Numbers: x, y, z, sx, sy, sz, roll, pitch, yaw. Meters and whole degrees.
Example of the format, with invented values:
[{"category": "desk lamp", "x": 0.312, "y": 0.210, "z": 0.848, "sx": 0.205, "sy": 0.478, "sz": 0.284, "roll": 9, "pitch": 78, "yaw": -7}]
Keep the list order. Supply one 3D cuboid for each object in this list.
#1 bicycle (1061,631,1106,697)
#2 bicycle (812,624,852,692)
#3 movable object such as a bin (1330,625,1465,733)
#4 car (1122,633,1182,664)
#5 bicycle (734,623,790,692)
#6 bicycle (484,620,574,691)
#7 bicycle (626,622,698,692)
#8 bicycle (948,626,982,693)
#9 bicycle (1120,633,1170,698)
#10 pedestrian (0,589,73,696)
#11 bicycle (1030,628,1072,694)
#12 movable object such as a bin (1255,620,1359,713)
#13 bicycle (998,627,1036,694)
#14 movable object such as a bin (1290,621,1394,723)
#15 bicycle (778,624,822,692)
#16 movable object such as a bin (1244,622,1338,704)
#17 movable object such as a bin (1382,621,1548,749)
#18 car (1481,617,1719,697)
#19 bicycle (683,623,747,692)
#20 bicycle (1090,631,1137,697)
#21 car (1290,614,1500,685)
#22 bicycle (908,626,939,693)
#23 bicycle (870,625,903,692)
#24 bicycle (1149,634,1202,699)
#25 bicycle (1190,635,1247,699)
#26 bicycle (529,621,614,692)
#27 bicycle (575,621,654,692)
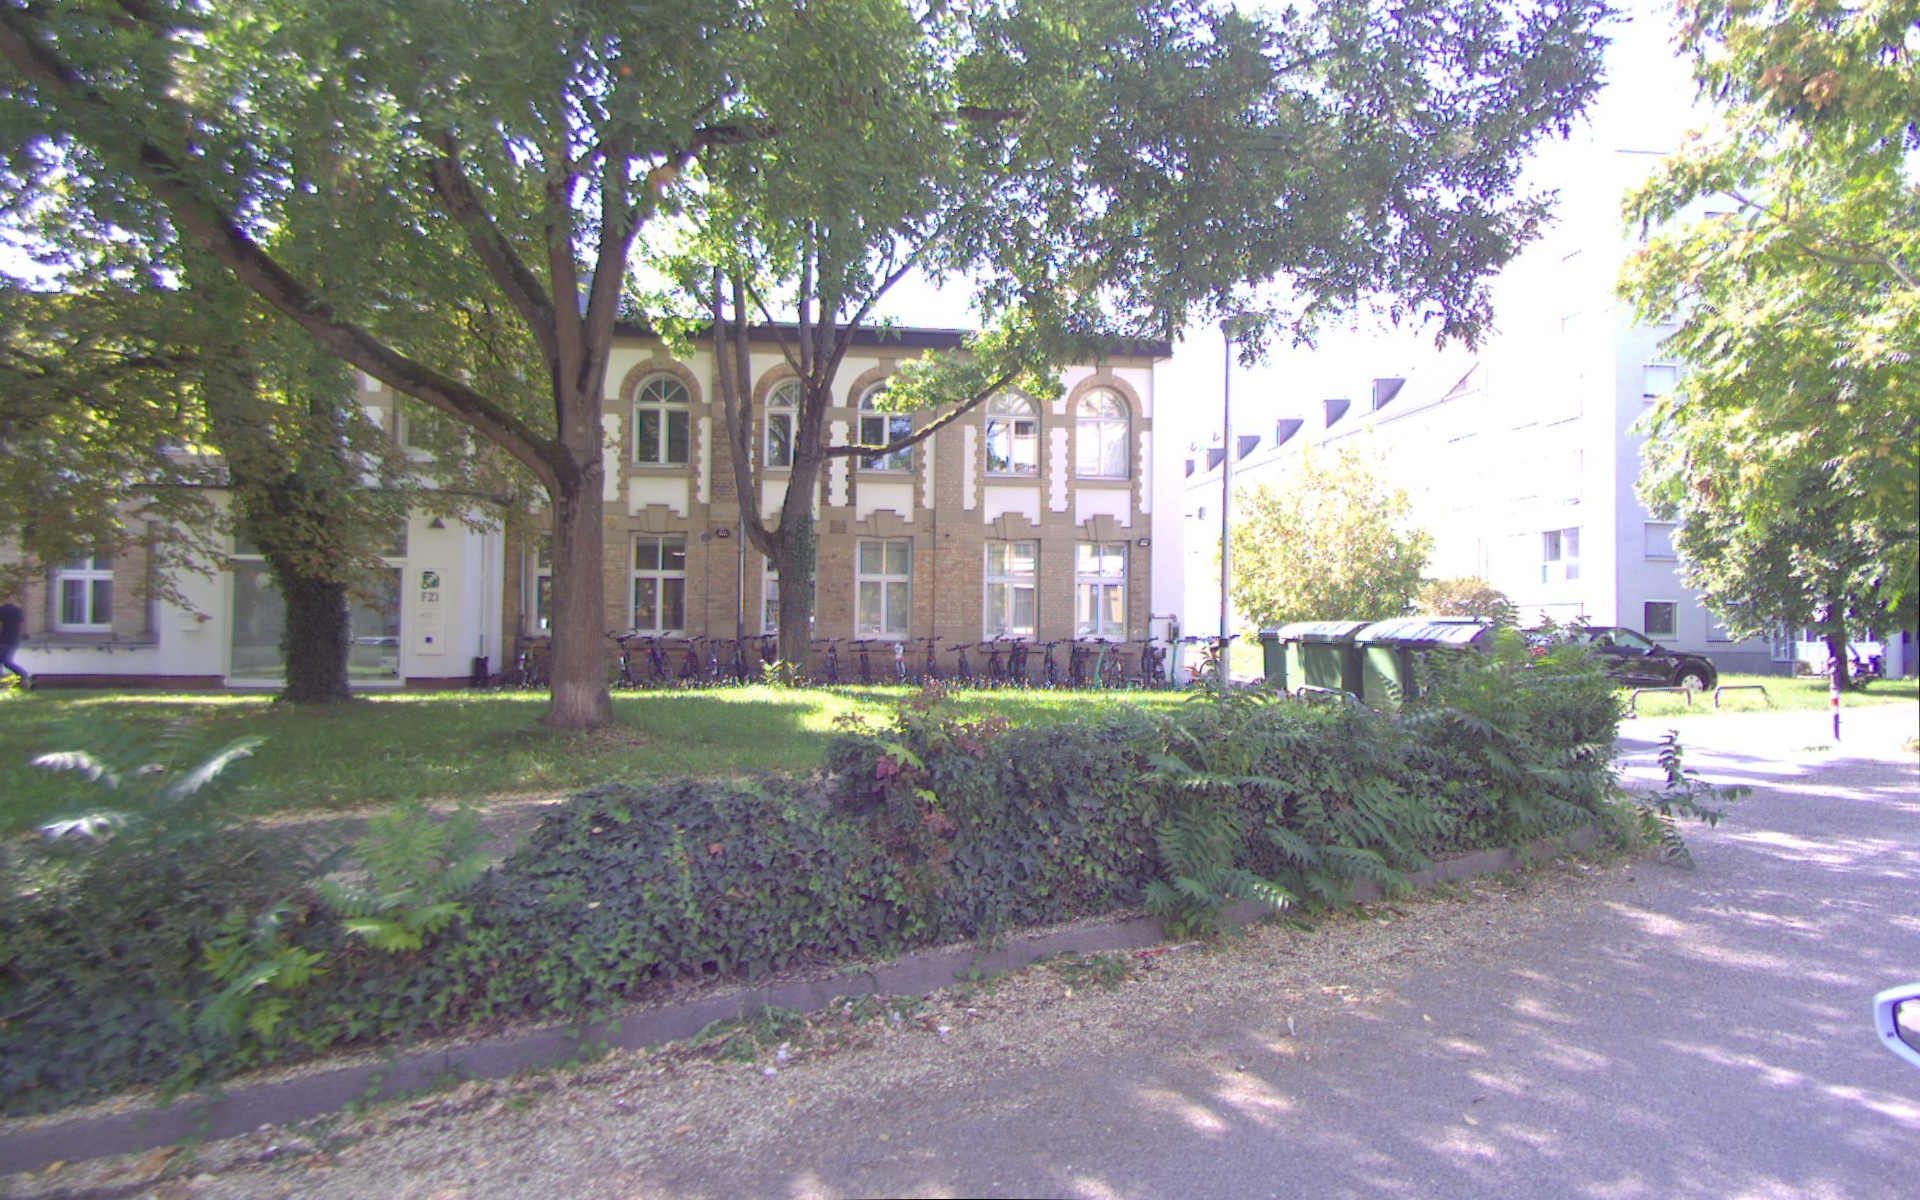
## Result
[{"category": "bicycle", "x": 2.586, "y": 1.327, "z": 21.266, "sx": 0.597, "sy": 1.319, "sz": 2.173, "roll": 1, "pitch": -2, "yaw": -2}, {"category": "bicycle", "x": -2.648, "y": 1.195, "z": 20.929, "sx": 0.597, "sy": 1.319, "sz": 2.173, "roll": 1, "pitch": -2, "yaw": -2}, {"category": "movable object such as a bin", "x": 6.225, "y": 1.092, "z": 14.375, "sx": 1.228, "sy": 1.451, "sz": 1.329, "roll": 1, "pitch": -1, "yaw": -12}, {"category": "car", "x": 9.947, "y": 2.508, "z": 52.322, "sx": 1.768, "sy": 1.530, "sz": 3.994, "roll": 1, "pitch": -2, "yaw": -10}, {"category": "bicycle", "x": -4.051, "y": 1.170, "z": 20.728, "sx": 0.757, "sy": 1.319, "sz": 2.273, "roll": 1, "pitch": -2, "yaw": -2}, {"category": "bicycle", "x": -8.512, "y": 1.092, "z": 19.973, "sx": 0.757, "sy": 1.319, "sz": 2.526, "roll": 1, "pitch": -2, "yaw": -2}, {"category": "bicycle", "x": -5.976, "y": 1.133, "z": 20.271, "sx": 0.757, "sy": 1.319, "sz": 2.526, "roll": 1, "pitch": -2, "yaw": -2}, {"category": "bicycle", "x": 0.089, "y": 1.235, "z": 21.098, "sx": 0.597, "sy": 1.319, "sz": 2.173, "roll": 1, "pitch": -2, "yaw": -2}, {"category": "bicycle", "x": 3.924, "y": 1.377, "z": 21.471, "sx": 0.597, "sy": 1.319, "sz": 2.173, "roll": 1, "pitch": -2, "yaw": -2}, {"category": "pedestrian", "x": -16.621, "y": 0.745, "z": 17.781, "sx": 1.108, "sy": 1.852, "sz": 0.735, "roll": 0, "pitch": -1, "yaw": -4}, {"category": "bicycle", "x": 1.912, "y": 1.281, "z": 21.328, "sx": 0.597, "sy": 1.319, "sz": 2.173, "roll": 1, "pitch": -2, "yaw": -2}, {"category": "movable object such as a bin", "x": 5.845, "y": 1.102, "z": 16.992, "sx": 1.228, "sy": 1.515, "sz": 1.204, "roll": 1, "pitch": -1, "yaw": -12}, {"category": "bicycle", "x": 1.174, "y": 1.250, "z": 21.132, "sx": 0.597, "sy": 1.319, "sz": 2.173, "roll": 1, "pitch": -2, "yaw": -2}, {"category": "movable object such as a bin", "x": 5.898, "y": 1.090, "z": 15.571, "sx": 1.082, "sy": 1.501, "sz": 1.099, "roll": 1, "pitch": -1, "yaw": -12}, {"category": "bicycle", "x": -3.292, "y": 1.184, "z": 20.851, "sx": 0.615, "sy": 1.319, "sz": 2.273, "roll": 1, "pitch": -2, "yaw": -2}, {"category": "movable object such as a bin", "x": 6.164, "y": 1.159, "z": 18.756, "sx": 1.228, "sy": 1.463, "sz": 1.204, "roll": 1, "pitch": -1, "yaw": -12}, {"category": "movable object such as a bin", "x": 6.394, "y": 1.035, "z": 12.790, "sx": 1.315, "sy": 1.513, "sz": 1.367, "roll": 1, "pitch": -1, "yaw": -20}, {"category": "car", "x": 13.152, "y": 1.155, "z": 20.792, "sx": 3.835, "sy": 1.548, "sz": 1.708, "roll": 1, "pitch": -2, "yaw": 0}, {"category": "bicycle", "x": -4.994, "y": 1.159, "z": 20.642, "sx": 0.757, "sy": 1.319, "sz": 2.526, "roll": 1, "pitch": -2, "yaw": -2}, {"category": "bicycle", "x": 3.251, "y": 1.342, "z": 21.414, "sx": 0.597, "sy": 1.319, "sz": 2.173, "roll": 1, "pitch": -2, "yaw": -2}, {"category": "car", "x": 12.417, "y": 1.400, "z": 28.952, "sx": 4.986, "sy": 1.906, "sz": 2.502, "roll": 1, "pitch": -2, "yaw": -3}, {"category": "bicycle", "x": -0.759, "y": 1.221, "z": 21.000, "sx": 0.597, "sy": 1.319, "sz": 2.173, "roll": 1, "pitch": -2, "yaw": -2}, {"category": "bicycle", "x": -1.523, "y": 1.213, "z": 21.131, "sx": 0.597, "sy": 1.319, "sz": 2.173, "roll": 1, "pitch": -2, "yaw": -2}, {"category": "bicycle", "x": 4.594, "y": 1.403, "z": 21.514, "sx": 0.597, "sy": 1.319, "sz": 2.173, "roll": 1, "pitch": -2, "yaw": -2}, {"category": "bicycle", "x": 5.562, "y": 1.422, "z": 21.690, "sx": 0.597, "sy": 1.319, "sz": 2.173, "roll": 1, "pitch": -2, "yaw": -2}, {"category": "bicycle", "x": -7.635, "y": 1.101, "z": 19.887, "sx": 0.757, "sy": 1.319, "sz": 2.526, "roll": 1, "pitch": -2, "yaw": -2}, {"category": "bicycle", "x": -6.855, "y": 1.108, "z": 20.092, "sx": 0.757, "sy": 1.319, "sz": 2.526, "roll": 1, "pitch": -2, "yaw": -2}]
